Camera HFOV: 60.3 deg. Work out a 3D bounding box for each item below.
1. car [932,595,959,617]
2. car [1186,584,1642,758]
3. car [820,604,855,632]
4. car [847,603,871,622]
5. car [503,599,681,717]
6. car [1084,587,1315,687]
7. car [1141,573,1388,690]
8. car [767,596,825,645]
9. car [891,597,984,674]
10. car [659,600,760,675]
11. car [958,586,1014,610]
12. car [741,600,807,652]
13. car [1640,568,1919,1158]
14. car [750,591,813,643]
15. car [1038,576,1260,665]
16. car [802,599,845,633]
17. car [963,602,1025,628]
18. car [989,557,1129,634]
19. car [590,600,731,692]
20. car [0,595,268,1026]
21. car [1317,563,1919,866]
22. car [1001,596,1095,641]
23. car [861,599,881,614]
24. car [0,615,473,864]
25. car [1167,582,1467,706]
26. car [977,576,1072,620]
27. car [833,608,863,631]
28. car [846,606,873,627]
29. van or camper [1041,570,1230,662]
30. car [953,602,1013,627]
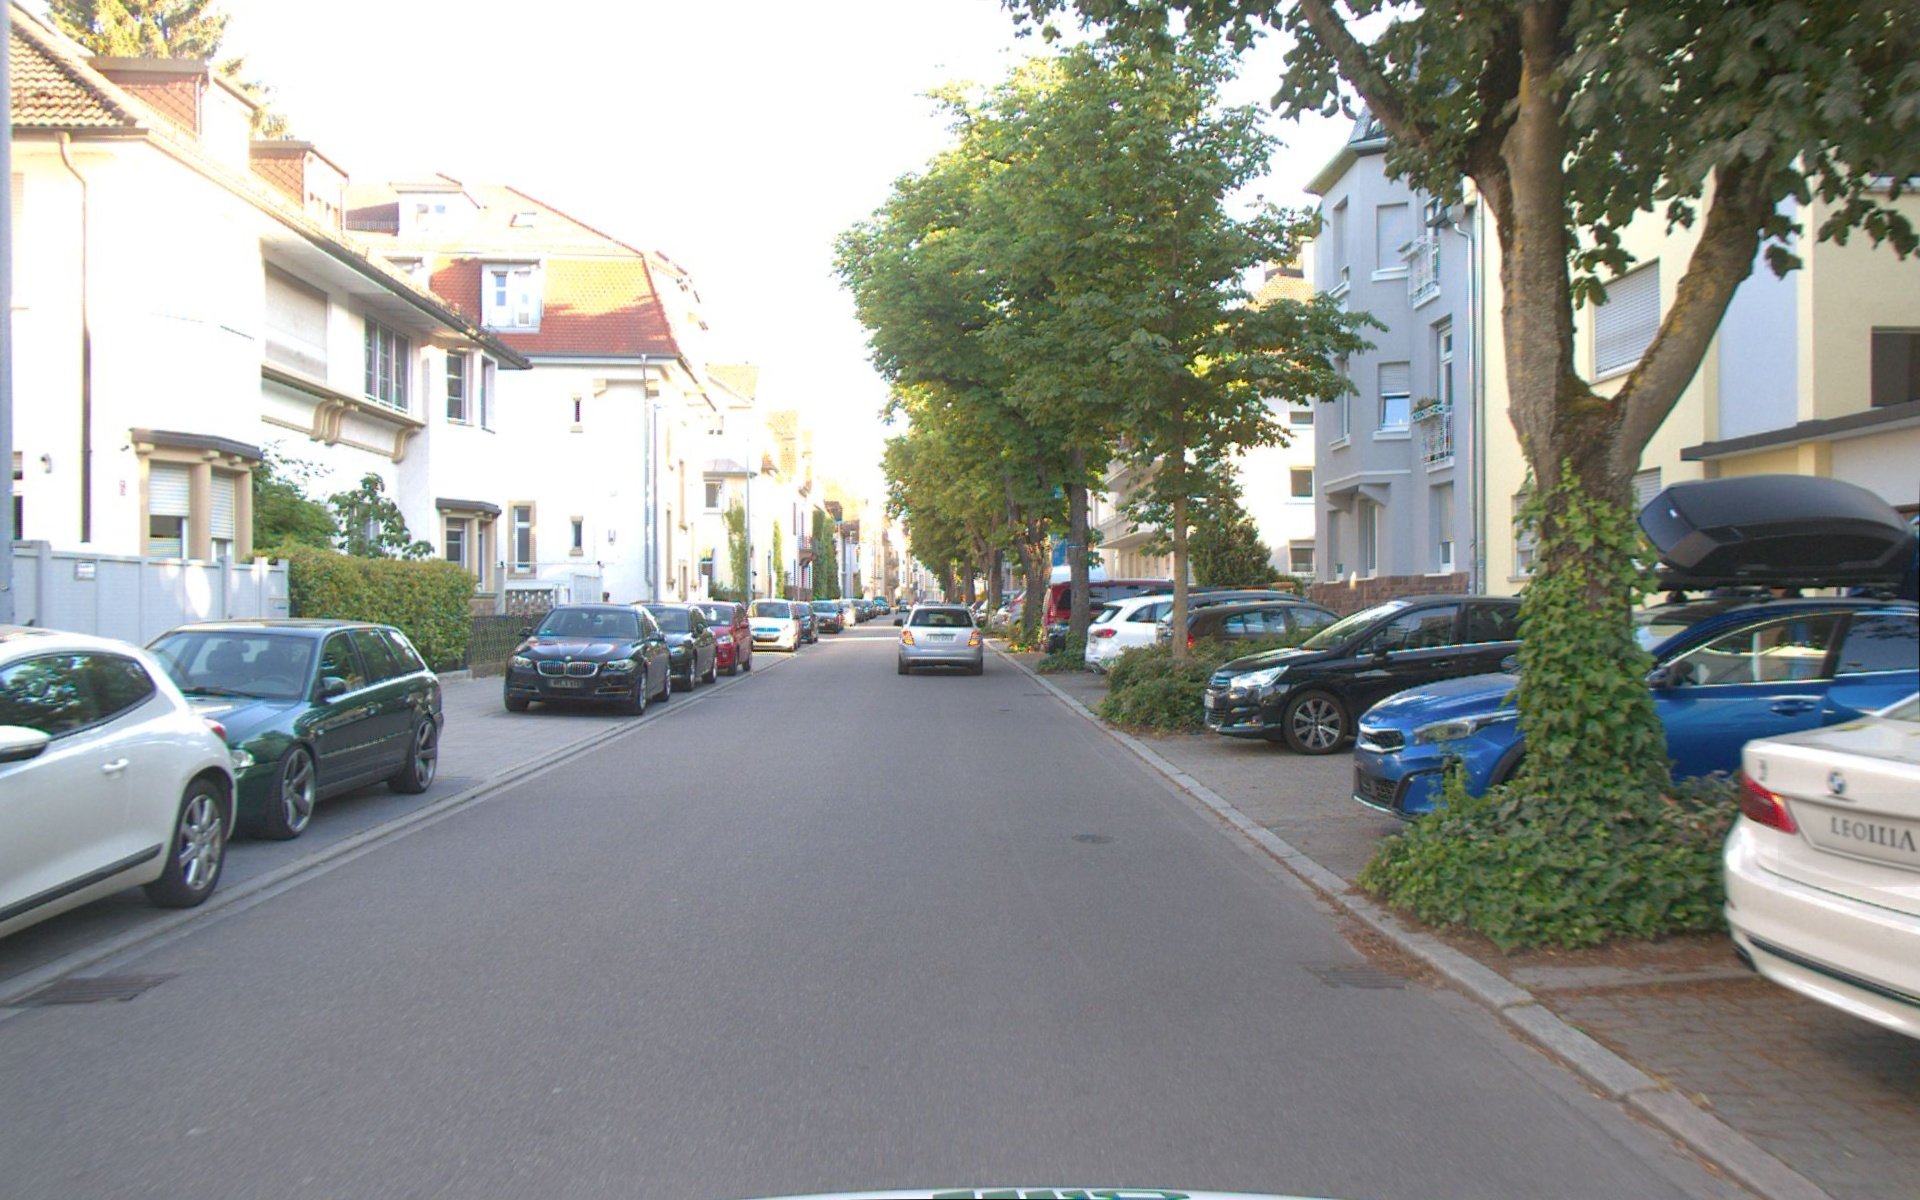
[{"bbox_3d":[-0.988,0.456,115.497,1.779,1.498,4.217,-1,-1,1],"label":"car"},{"bbox_3d":[4.528,0.683,16.921,4.106,1.585,1.873,-1,0,-3],"label":"car"},{"bbox_3d":[-6.948,1.015,93.883,1.763,1.508,3.856,0,0,-1],"label":"car"},{"bbox_3d":[-7.873,0.951,128.886,1.763,1.411,3.605,0,0,-1],"label":"car"},{"bbox_3d":[-5.170,0.759,23.812,1.817,1.524,4.651,0,0,-4],"label":"car"},{"bbox_3d":[4.048,0.611,28.353,3.656,1.585,1.724,-1,0,-3],"label":"car"},{"bbox_3d":[4.687,0.477,25.776,3.476,1.683,1.724,-1,0,-3],"label":"car"},{"bbox_3d":[-5.894,0.720,59.768,1.763,1.673,3.856,0,0,-1],"label":"car"},{"bbox_3d":[-0.420,0.721,34.788,1.779,1.498,4.217,-1,-1,1],"label":"car"},{"bbox_3d":[-5.300,0.776,35.381,1.625,1.514,3.753,0,0,-1],"label":"car"},{"bbox_3d":[1.764,-0.144,112.143,3.766,1.508,1.805,-1,0,-1],"label":"car"},{"bbox_3d":[-5.618,0.760,50.212,1.625,1.526,3.753,0,0,-1],"label":"car"},{"bbox_3d":[4.687,0.638,5.104,4.392,1.552,1.951,-2,1,-7],"label":"car"},{"bbox_3d":[-5.911,0.592,55.036,1.763,1.673,3.855,0,-1,-1],"label":"car"},{"bbox_3d":[4.012,0.426,35.617,4.532,1.869,1.953,0,0,-2],"label":"car"},{"bbox_3d":[-6.381,0.725,77.581,1.763,1.508,3.856,0,0,-1],"label":"car"},{"bbox_3d":[2.072,0.911,102.609,3.766,1.508,1.805,-1,0,-1],"label":"car"},{"bbox_3d":[4.024,-0.201,67.954,5.432,3.020,2.470,-1,0,-4],"label":"car"},{"bbox_3d":[-5.291,0.771,29.798,1.747,1.524,4.698,0,0,-1],"label":"car"},{"bbox_3d":[-4.583,0.799,6.935,1.847,1.619,4.087,0,0,-4],"label":"car"},{"bbox_3d":[4.706,0.640,10.491,4.435,1.669,1.873,-1,0,-3],"label":"car"},{"bbox_3d":[3.423,0.700,64.858,3.523,1.689,1.649,-1,0,-4],"label":"car"},{"bbox_3d":[-8.541,0.589,159.010,1.763,1.411,3.605,0,0,-1],"label":"car"},{"bbox_3d":[-5.040,0.861,12.043,1.722,1.473,4.142,0,0,1],"label":"car"},{"bbox_3d":[4.944,0.585,23.258,3.844,1.585,1.725,-1,1,0],"label":"car"},{"bbox_3d":[3.139,-0.114,81.054,4.429,2.049,2.250,-1,0,-3],"label":"car"},{"bbox_3d":[-7.290,1.235,107.884,1.763,1.411,3.605,0,0,-1],"label":"car"},{"bbox_3d":[-7.149,1.144,117.621,1.763,1.411,3.605,0,0,-1],"label":"car"},{"bbox_3d":[3.997,0.358,38.278,4.223,2.049,2.000,0,0,1],"label":"van or camper"},{"bbox_3d":[1.421,0.932,105.043,3.766,1.508,1.805,-1,0,-1],"label":"car"}]
